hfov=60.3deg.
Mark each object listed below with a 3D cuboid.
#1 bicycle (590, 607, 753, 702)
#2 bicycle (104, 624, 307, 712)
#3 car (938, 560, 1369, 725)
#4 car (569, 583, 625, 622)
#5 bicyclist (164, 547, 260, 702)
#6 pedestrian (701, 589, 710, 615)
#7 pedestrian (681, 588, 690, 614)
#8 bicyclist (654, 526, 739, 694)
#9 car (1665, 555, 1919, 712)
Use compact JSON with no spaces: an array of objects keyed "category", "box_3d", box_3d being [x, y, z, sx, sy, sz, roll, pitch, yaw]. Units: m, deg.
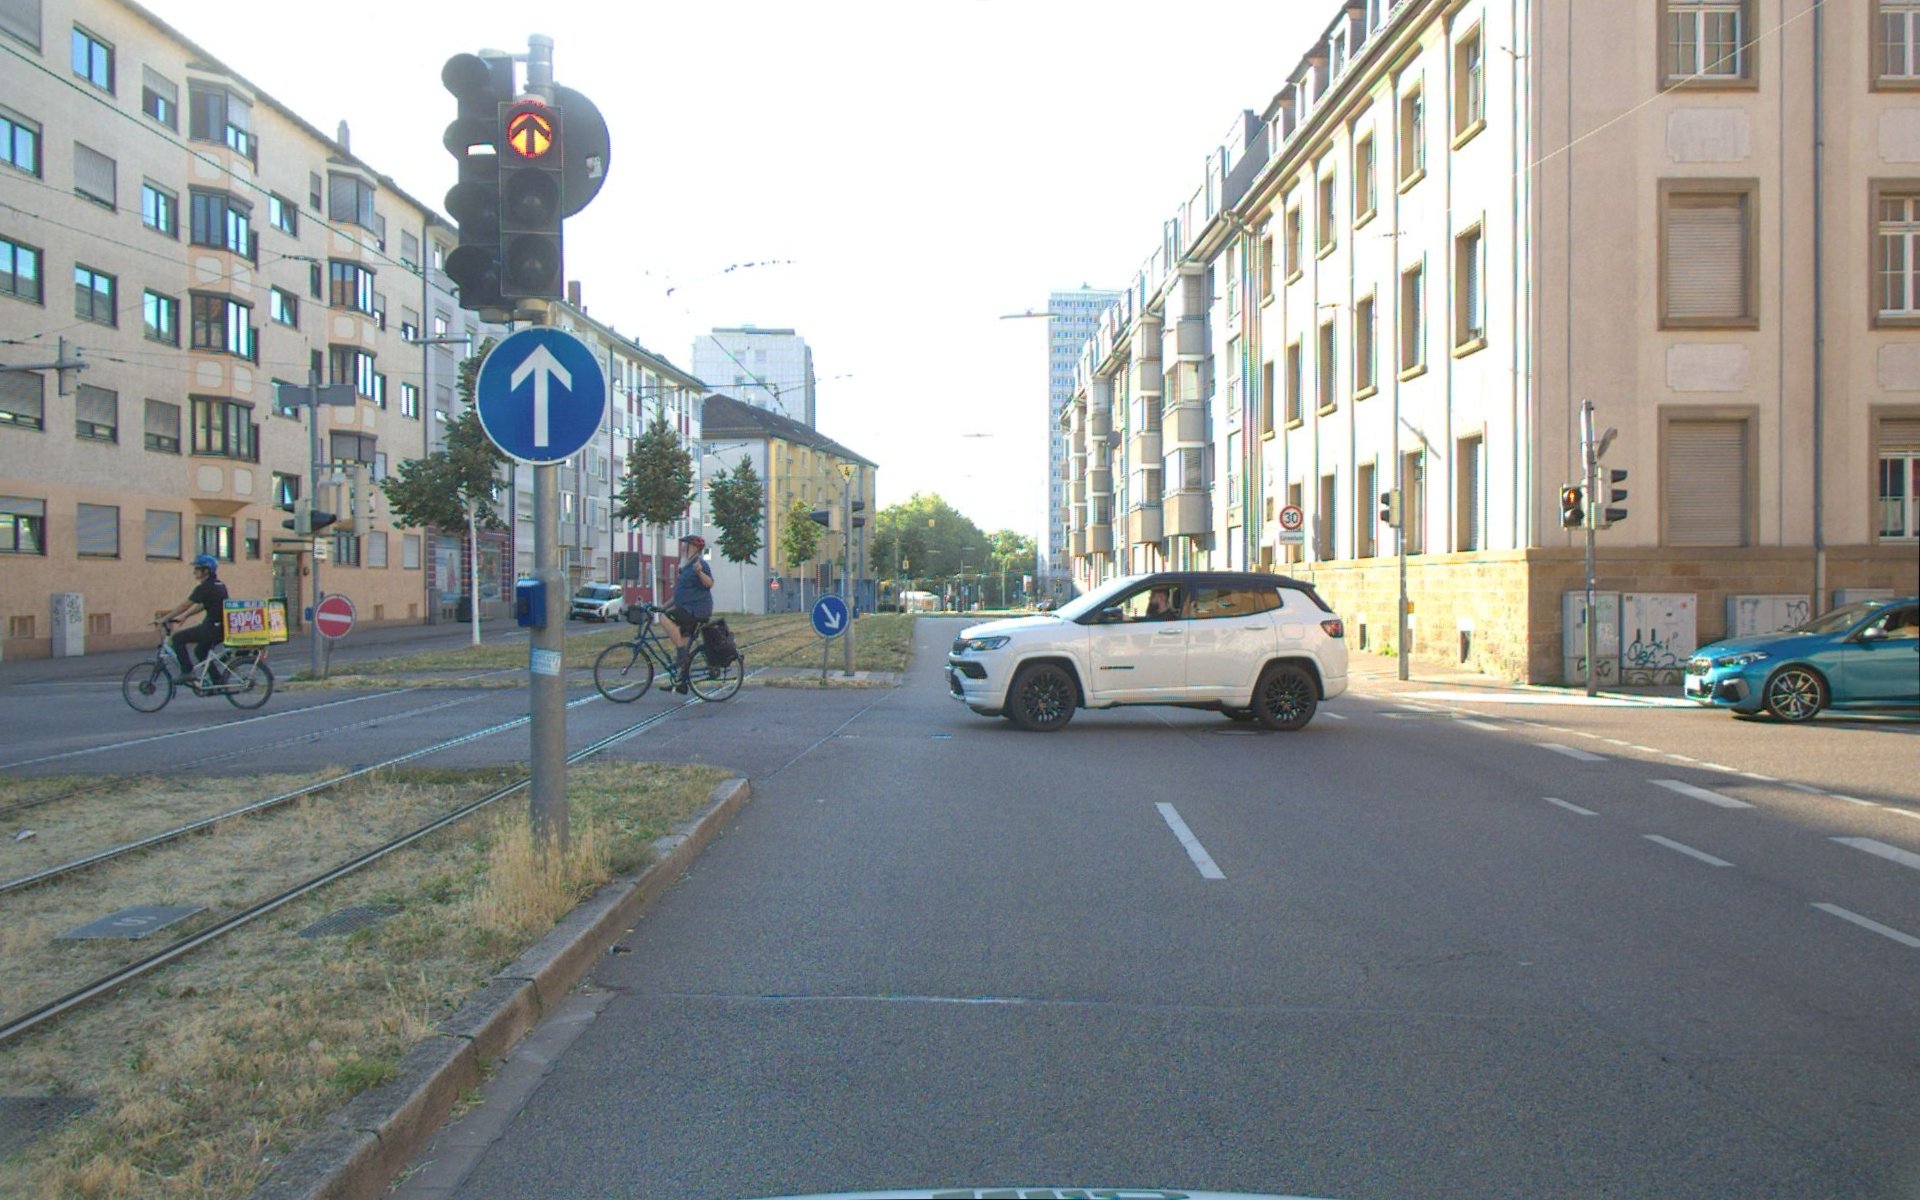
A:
[{"category":"bicycle","box_3d":[-3.545,0.663,20.434,1.905,1.113,0.575,-1,0,-4]},{"category":"bicycle","box_3d":[-8.934,0.796,19.645,2.031,0.975,0.746,-1,0,-4]},{"category":"car","box_3d":[2.014,0.426,18.025,4.334,1.670,1.997,0,0,-7]},{"category":"car","box_3d":[-17.776,0.140,81.158,1.774,1.829,4.245,1,0,1]},{"category":"bicyclist","box_3d":[-8.878,0.287,19.653,0.777,1.784,0.720,1,-1,-3]},{"category":"pedestrian","box_3d":[-17.073,0.137,111.054,0.485,1.687,0.408,-1,0,-1]},{"category":"pedestrian","box_3d":[-18.296,0.058,110.356,0.485,1.687,0.408,-1,0,-1]},{"category":"bicyclist","box_3d":[-3.246,0.117,20.410,0.940,2.023,0.672,-1,0,-4]},{"category":"car","box_3d":[10.932,0.383,19.553,4.365,1.759,2.001,0,-1,6]}]
